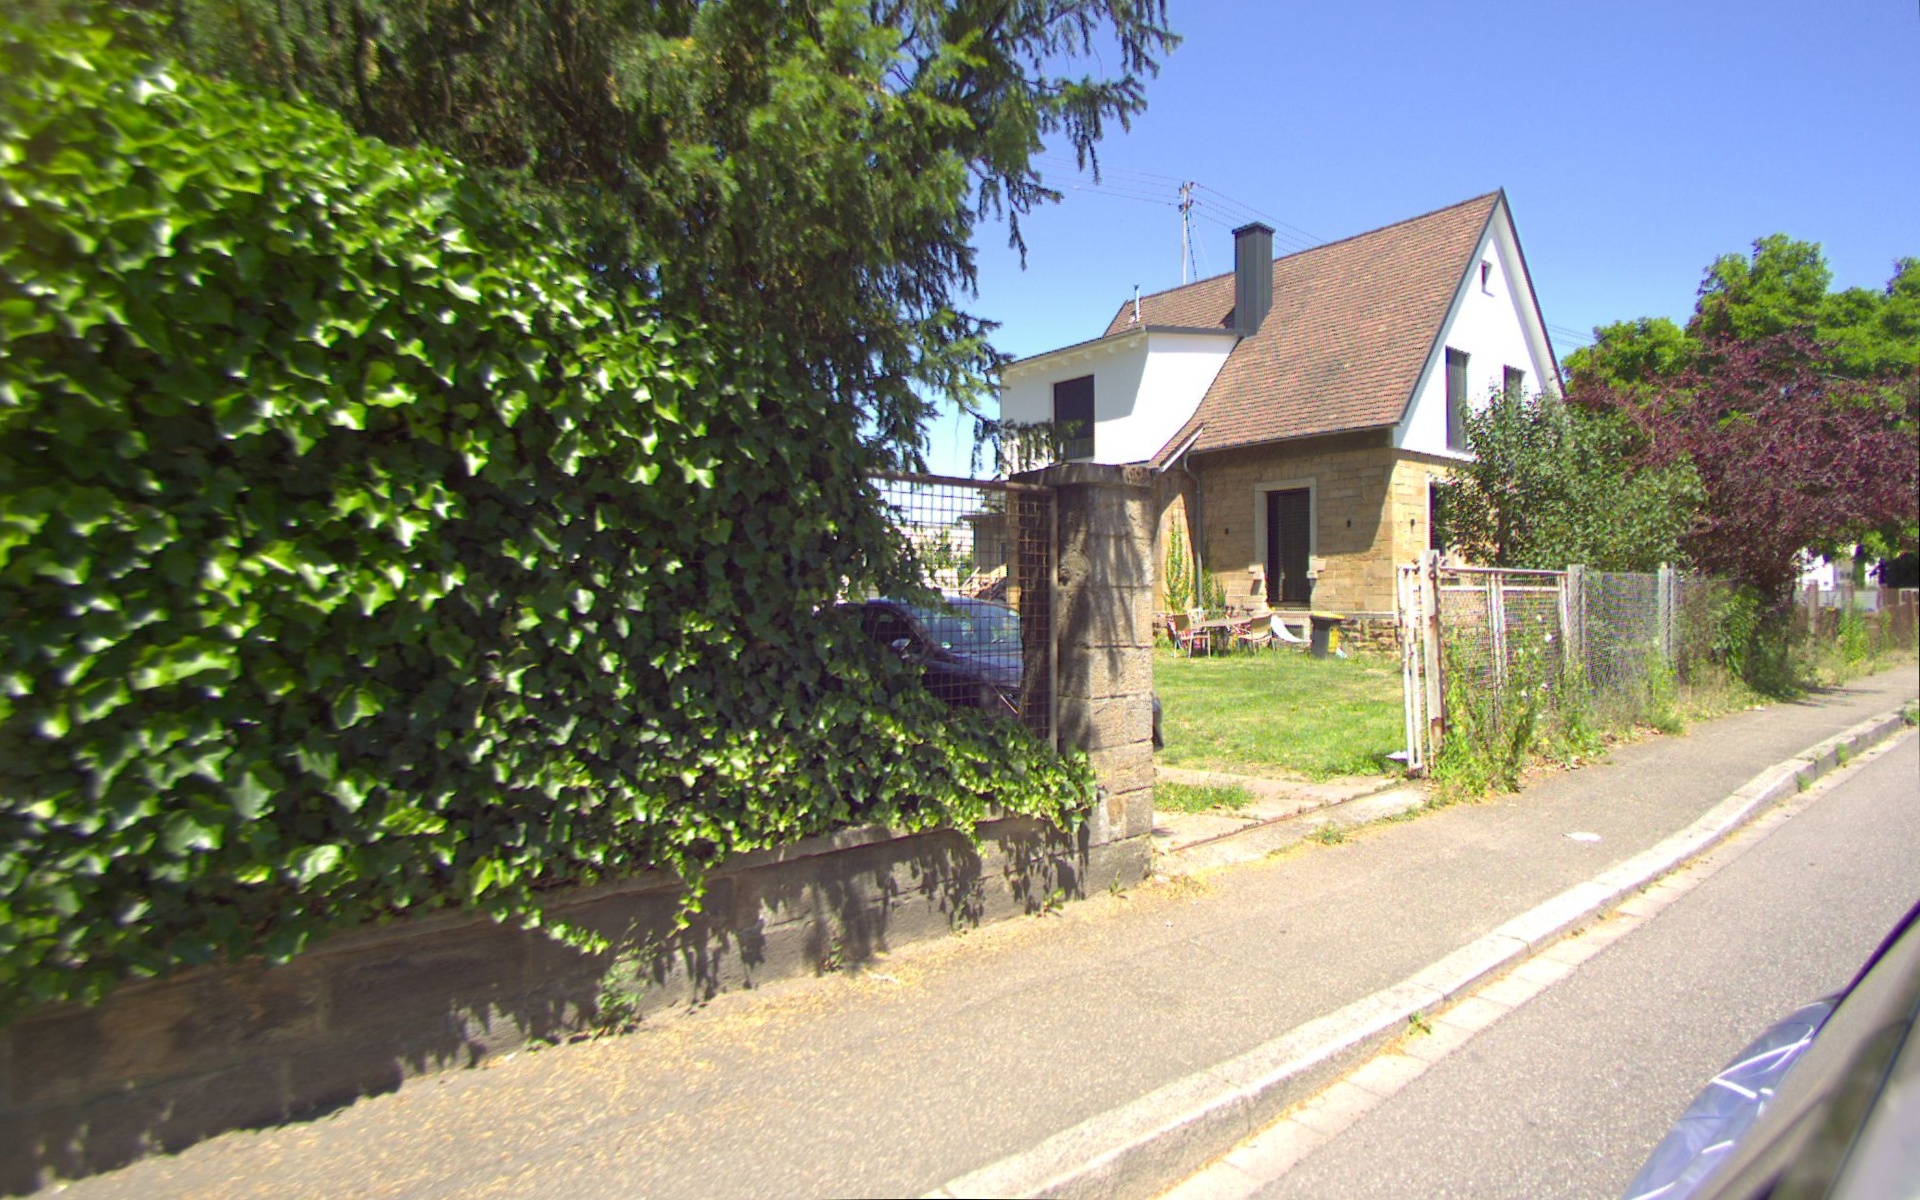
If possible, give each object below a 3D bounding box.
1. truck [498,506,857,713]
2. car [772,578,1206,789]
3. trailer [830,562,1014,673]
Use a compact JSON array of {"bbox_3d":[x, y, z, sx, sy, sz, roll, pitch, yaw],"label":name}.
[{"bbox_3d":[-4.179,0.220,13.841,1.946,2.196,6.615,1,-3,-43],"label":"truck"},{"bbox_3d":[0.031,0.565,8.799,1.734,1.398,3.871,0,0,-37],"label":"car"},{"bbox_3d":[-0.906,0.318,21.390,2.043,1.958,4.002,-6,3,-31],"label":"trailer"}]
